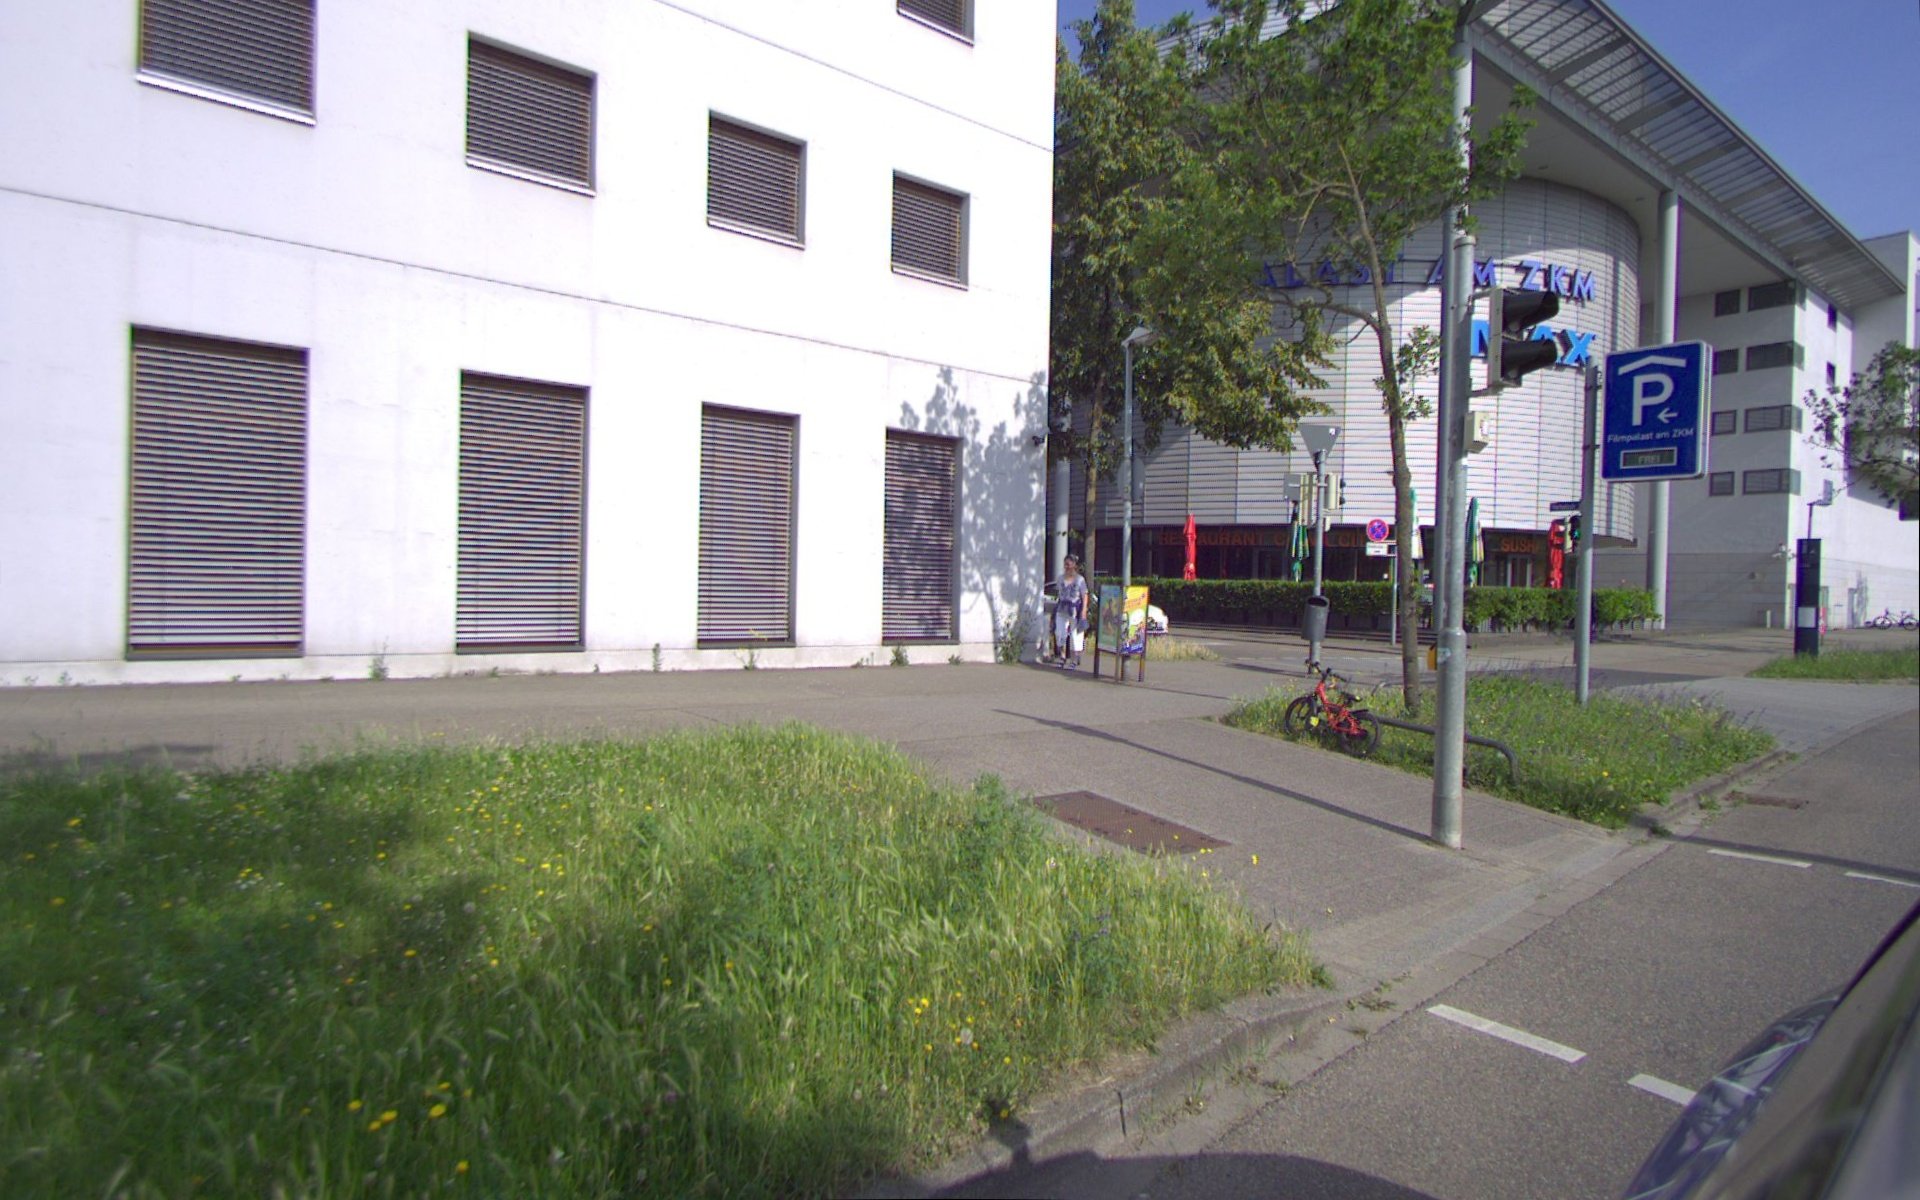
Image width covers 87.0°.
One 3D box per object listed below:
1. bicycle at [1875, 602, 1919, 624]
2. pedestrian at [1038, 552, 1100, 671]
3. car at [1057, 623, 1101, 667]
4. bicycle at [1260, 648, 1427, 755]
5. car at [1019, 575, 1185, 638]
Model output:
[{"bbox_3d":[49.973,0.687,53.685,0.662,1.116,2.016,1,1,-32],"label":"bicycle"},{"bbox_3d":[1.574,0.151,14.535,0.704,1.636,0.775,2,1,19],"label":"pedestrian"},{"bbox_3d":[1.795,0.666,15.273,0.492,0.595,0.763,2,1,20],"label":"car"},{"bbox_3d":[3.290,0.845,8.780,0.510,0.639,1.278,0,7,-29],"label":"bicycle"},{"bbox_3d":[3.683,0.134,26.958,1.866,1.483,4.334,1,1,-37],"label":"car"}]
